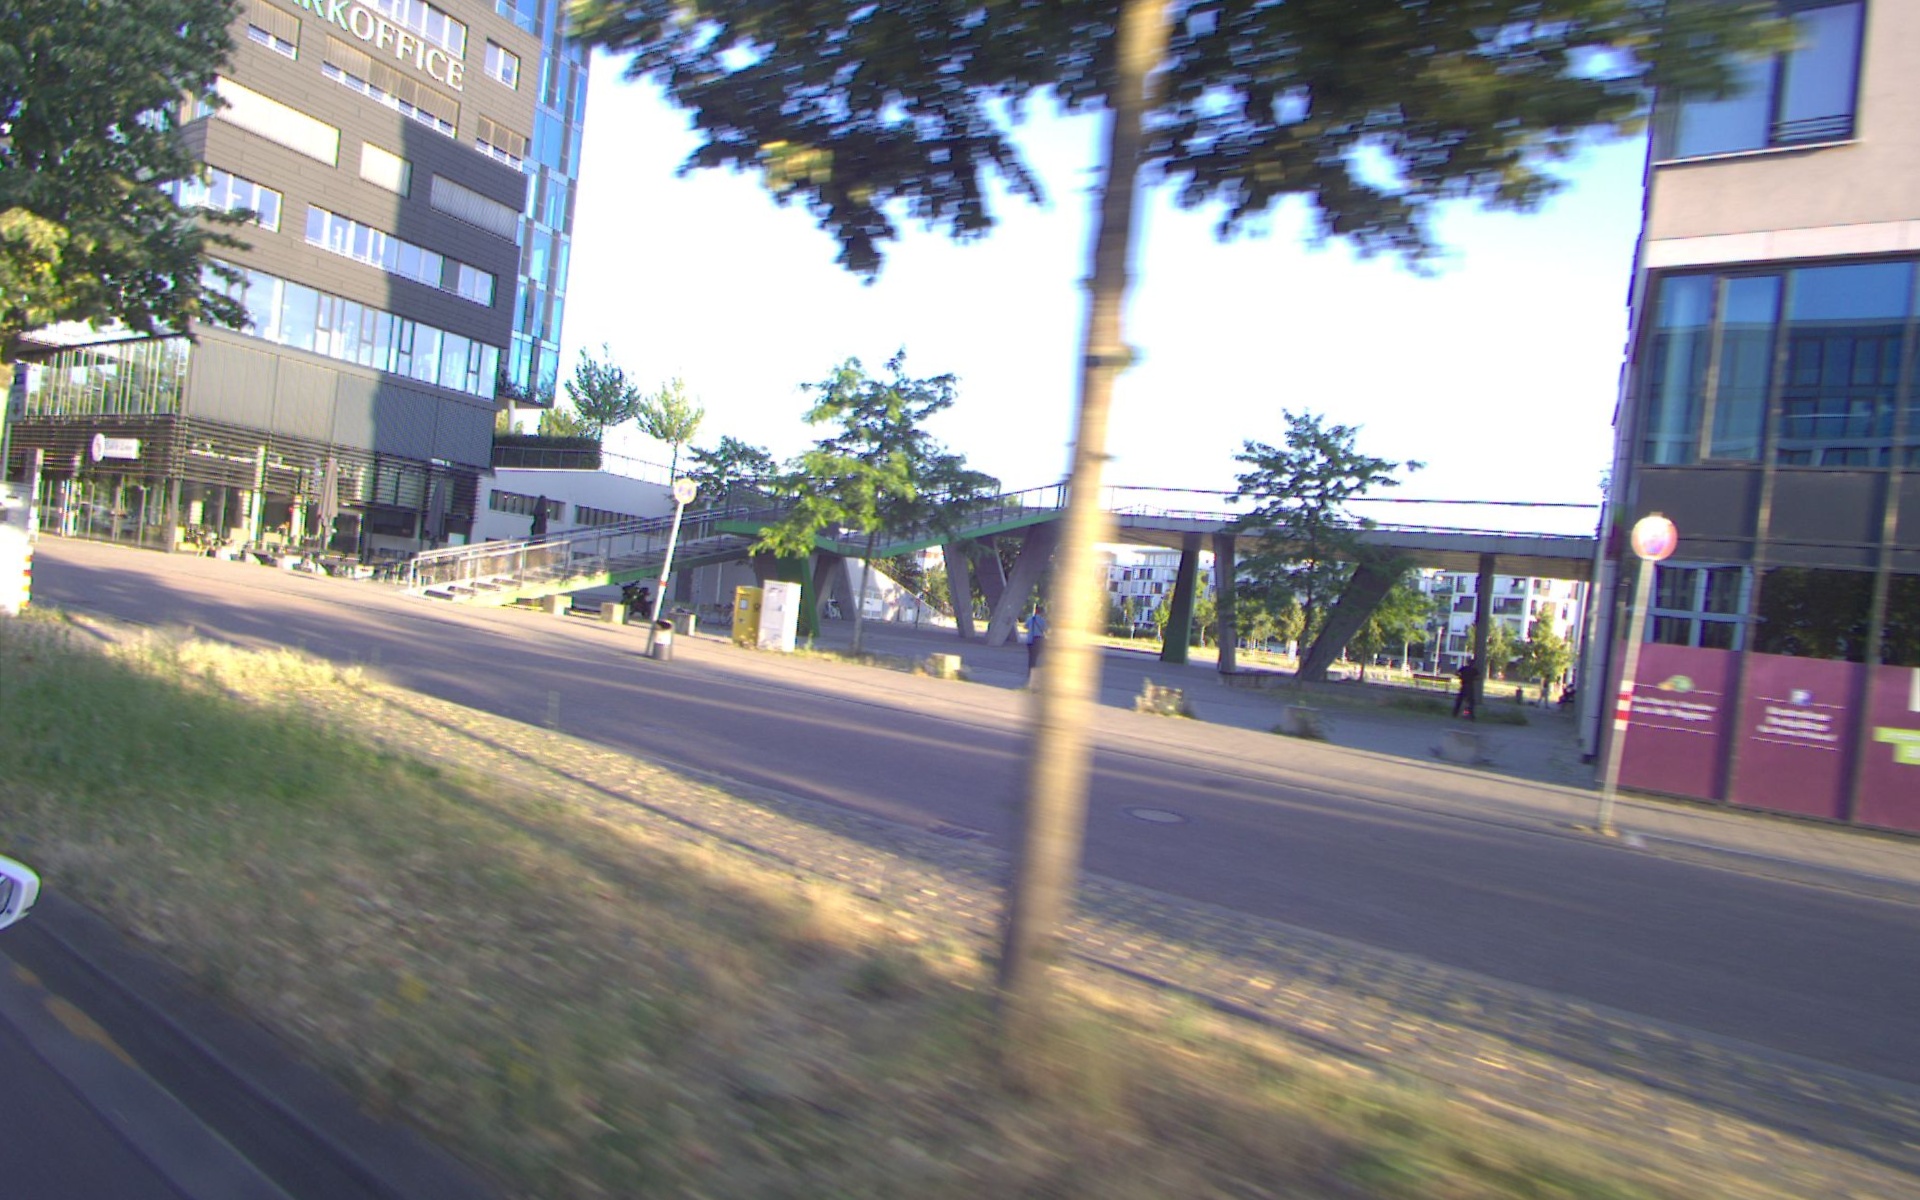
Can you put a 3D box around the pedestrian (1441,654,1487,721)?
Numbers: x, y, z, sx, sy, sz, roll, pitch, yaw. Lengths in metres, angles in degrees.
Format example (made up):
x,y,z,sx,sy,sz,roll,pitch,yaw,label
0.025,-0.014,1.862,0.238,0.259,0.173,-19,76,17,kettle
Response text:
x,y,z,sx,sy,sz,roll,pitch,yaw,label
13.886,2.409,27.713,0.774,1.713,1.118,7,1,37,pedestrian

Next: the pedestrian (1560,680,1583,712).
x,y,z,sx,sy,sz,roll,pitch,yaw,label
27.621,4.330,45.463,0.732,1.359,0.725,7,1,29,pedestrian

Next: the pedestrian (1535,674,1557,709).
x,y,z,sx,sy,sz,roll,pitch,yaw,label
27.974,4.361,48.031,0.732,1.549,0.724,7,1,30,pedestrian

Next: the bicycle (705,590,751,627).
x,y,z,sx,sy,sz,roll,pitch,yaw,label
-8.002,0.289,34.682,1.743,1.065,0.566,7,0,42,bicycle

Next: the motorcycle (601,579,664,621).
x,y,z,sx,sy,sz,roll,pitch,yaw,label
-10.568,-0.024,32.440,2.297,1.107,0.650,7,0,38,motorcycle

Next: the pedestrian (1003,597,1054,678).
x,y,z,sx,sy,sz,roll,pitch,yaw,label
1.821,0.982,26.765,0.916,2.038,0.889,6,0,-15,pedestrian

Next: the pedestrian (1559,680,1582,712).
x,y,z,sx,sy,sz,roll,pitch,yaw,label
28.119,4.429,46.357,0.732,1.359,0.725,7,1,29,pedestrian
